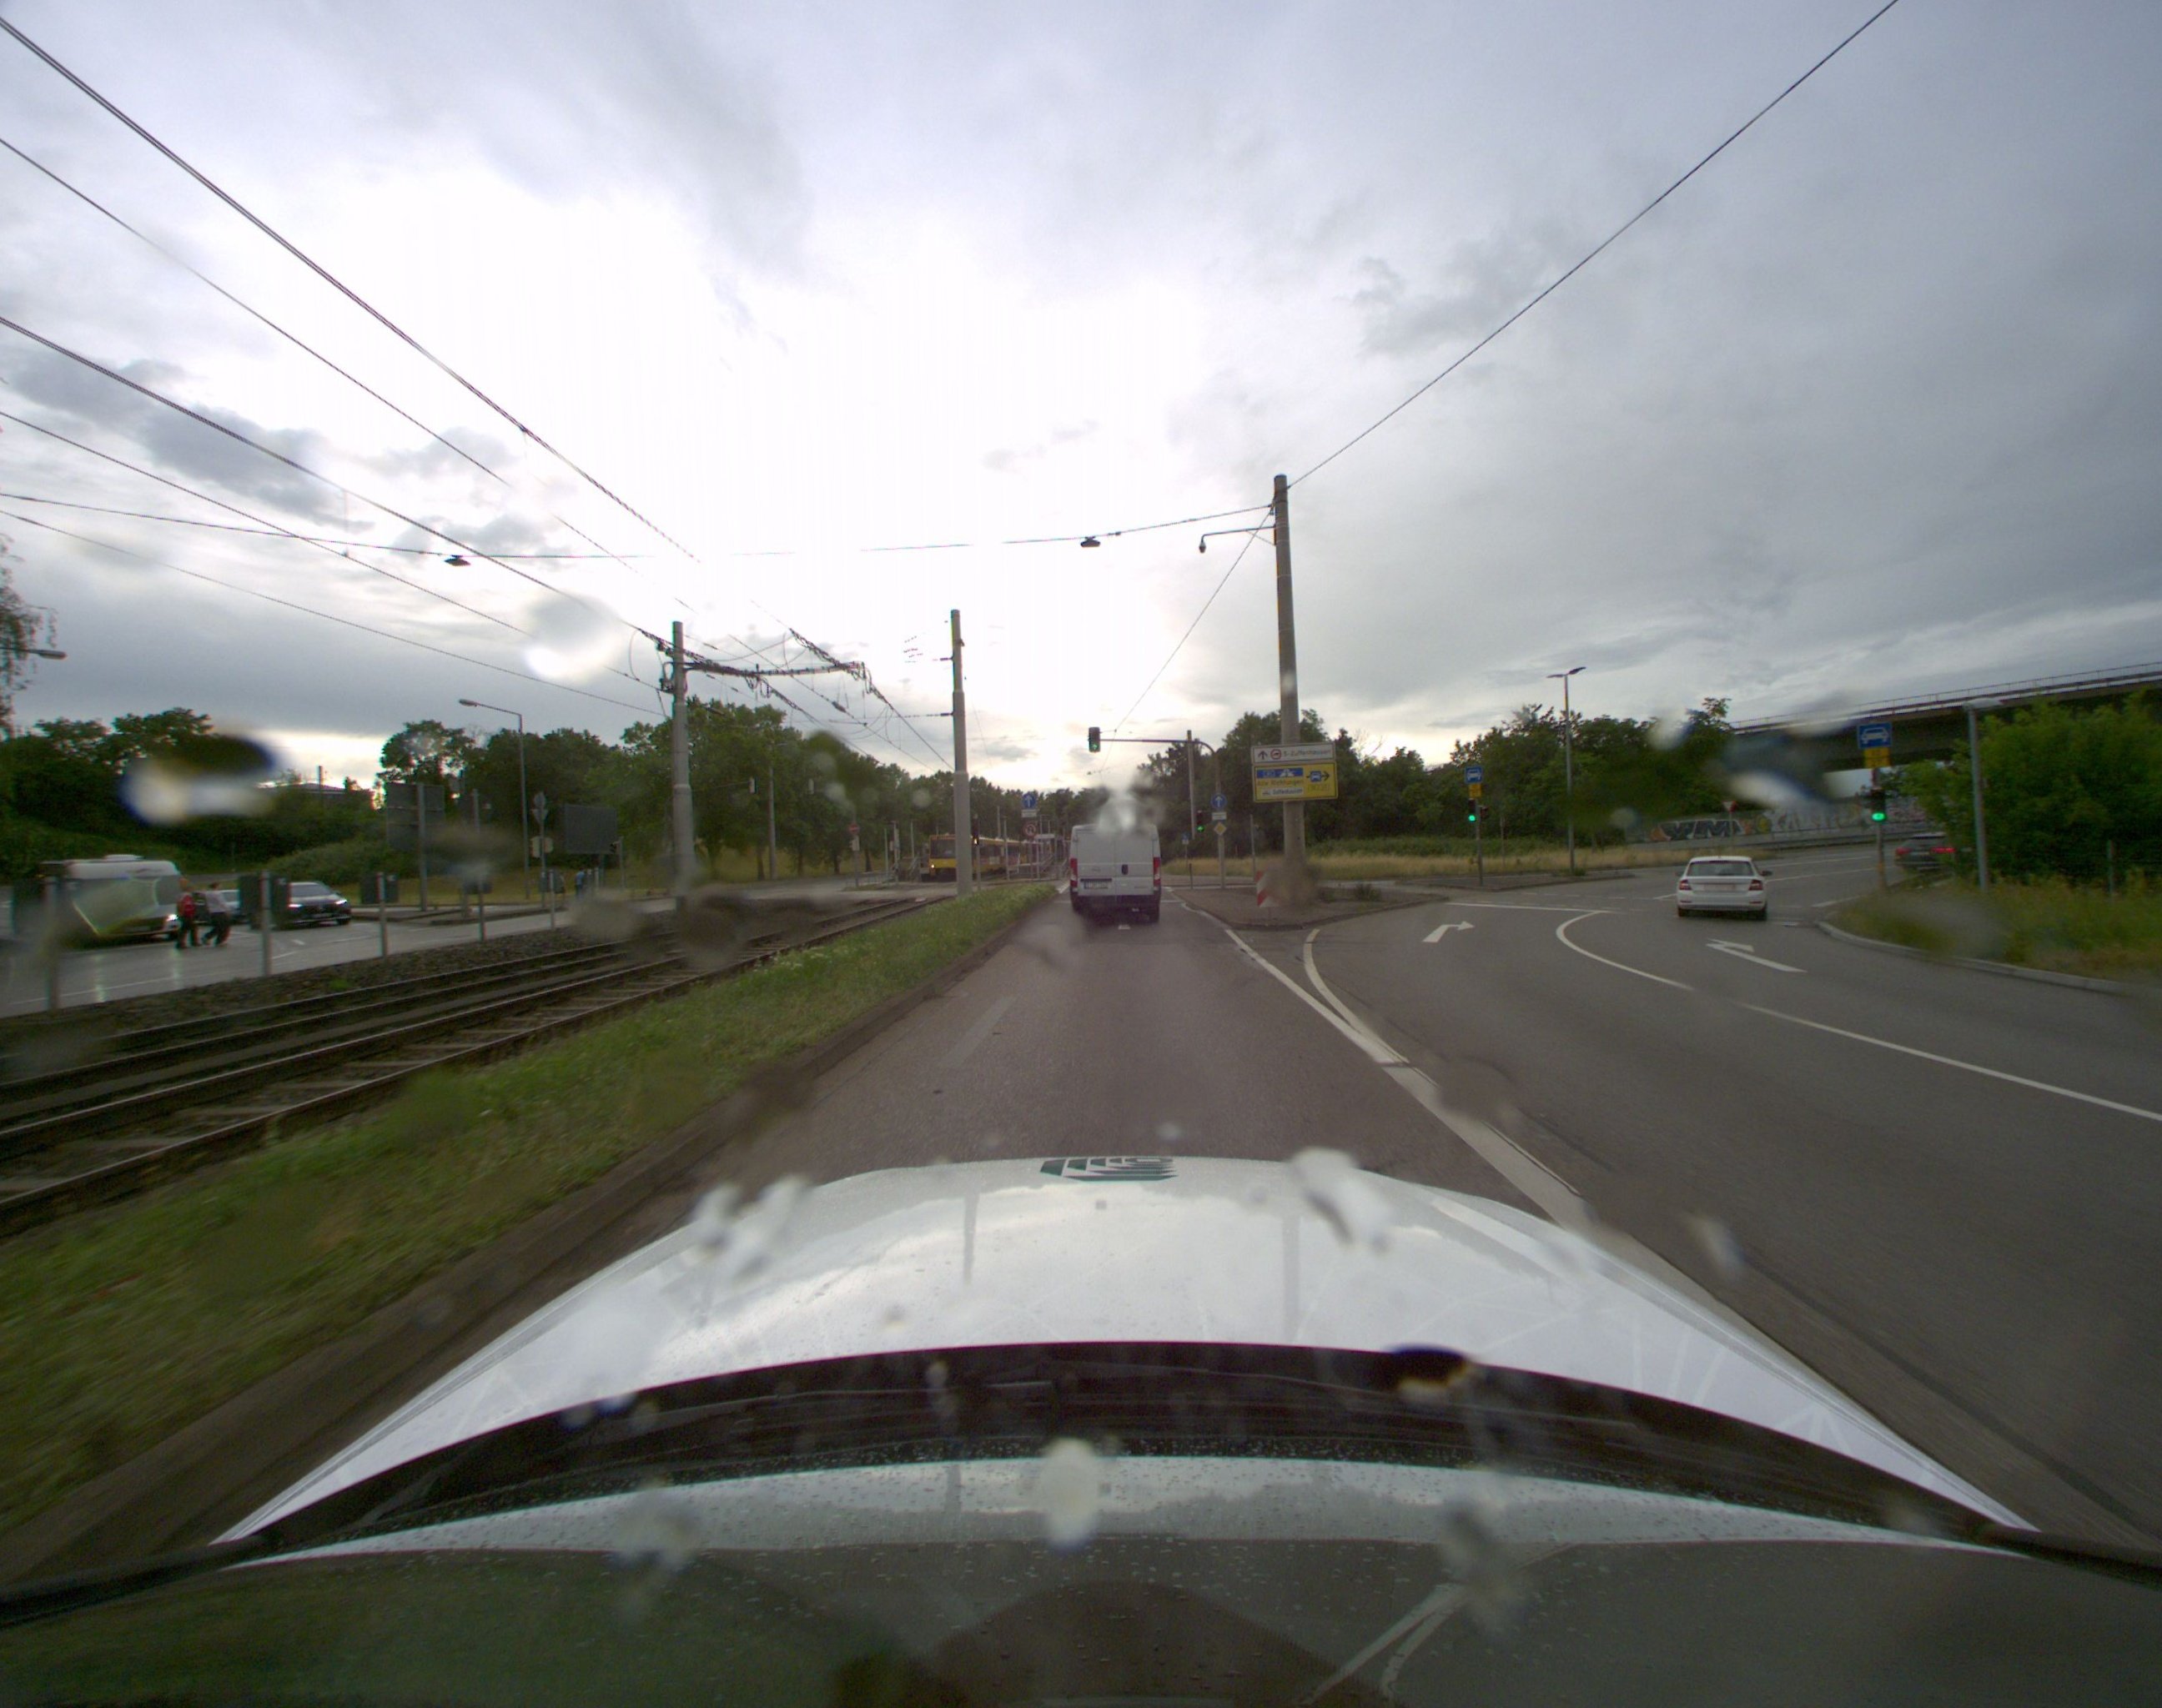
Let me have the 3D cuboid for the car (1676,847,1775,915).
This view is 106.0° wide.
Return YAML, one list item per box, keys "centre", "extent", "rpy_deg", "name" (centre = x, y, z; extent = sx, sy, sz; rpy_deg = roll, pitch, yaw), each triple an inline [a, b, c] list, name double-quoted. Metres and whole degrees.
- centre: [15.705, 0.590, 19.794]
  extent: [1.730, 1.457, 3.694]
  rpy_deg: [-1, 0, 41]
  name: "car"

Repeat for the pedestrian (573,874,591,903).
- centre: [-26.036, 1.801, 42.476]
  extent: [0.494, 1.473, 0.722]
  rpy_deg: [0, 0, 1]
  name: "pedestrian"

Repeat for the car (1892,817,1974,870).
- centre: [31.405, -0.408, 30.114]
  extent: [1.887, 1.535, 4.025]
  rpy_deg: [-4, 3, 45]
  name: "car"

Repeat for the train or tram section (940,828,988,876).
- centre: [-9.937, -0.147, 69.806]
  extent: [2.918, 3.933, 7.007]
  rpy_deg: [0, 0, 1]
  name: "train or tram section"

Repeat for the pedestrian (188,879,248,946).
- centre: [-25.247, 1.699, 23.850]
  extent: [0.630, 1.867, 0.956]
  rpy_deg: [-3, 0, 8]
  name: "pedestrian"

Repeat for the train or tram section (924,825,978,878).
- centre: [-10.072, -0.156, 63.731]
  extent: [2.918, 3.933, 7.007]
  rpy_deg: [0, 0, 1]
  name: "train or tram section"

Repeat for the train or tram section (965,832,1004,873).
- centre: [-9.670, -0.127, 82.274]
  extent: [2.918, 3.933, 7.007]
  rpy_deg: [0, 0, 1]
  name: "train or tram section"

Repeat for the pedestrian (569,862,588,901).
- centre: [-25.111, 1.371, 40.684]
  extent: [0.493, 1.955, 0.722]
  rpy_deg: [0, 0, 3]
  name: "pedestrian"

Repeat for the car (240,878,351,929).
- centre: [-30.325, 1.874, 31.419]
  extent: [4.571, 1.732, 2.013]
  rpy_deg: [-2, 1, 32]
  name: "car"

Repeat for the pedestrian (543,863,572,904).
- centre: [-26.808, 1.495, 41.705]
  extent: [0.886, 2.013, 0.864]
  rpy_deg: [-2, 0, -6]
  name: "pedestrian"

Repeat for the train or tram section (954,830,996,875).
- centre: [-9.805, -0.137, 76.052]
  extent: [2.918, 3.933, 7.007]
  rpy_deg: [0, 0, 1]
  name: "train or tram section"

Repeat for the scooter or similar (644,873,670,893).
- centre: [-25.476, 1.734, 48.975]
  extent: [0.375, 1.161, 1.288]
  rpy_deg: [-2, 1, 44]
  name: "scooter or similar"

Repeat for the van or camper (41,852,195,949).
- centre: [-33.589, 1.531, 28.322]
  extent: [7.279, 2.967, 2.507]
  rpy_deg: [-2, 0, 33]
  name: "van or camper"

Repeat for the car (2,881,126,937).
- centre: [-40.750, 2.175, 32.628]
  extent: [4.469, 2.013, 2.012]
  rpy_deg: [-2, 0, 25]
  name: "car"

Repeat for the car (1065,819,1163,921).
- centre: [0.694, 0.329, 20.175]
  extent: [2.084, 2.196, 5.059]
  rpy_deg: [-1, 0, -1]
  name: "car"

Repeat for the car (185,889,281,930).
- centre: [-36.744, 2.383, 35.276]
  extent: [3.949, 1.565, 1.851]
  rpy_deg: [-2, 0, 28]
  name: "car"

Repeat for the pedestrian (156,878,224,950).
- centre: [-26.014, 1.741, 23.785]
  extent: [0.882, 2.013, 0.947]
  rpy_deg: [-2, 0, 7]
  name: "pedestrian"

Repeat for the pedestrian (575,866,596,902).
- centre: [-24.620, 1.471, 40.495]
  extent: [0.504, 1.787, 0.833]
  rpy_deg: [0, 0, 4]
  name: "pedestrian"
